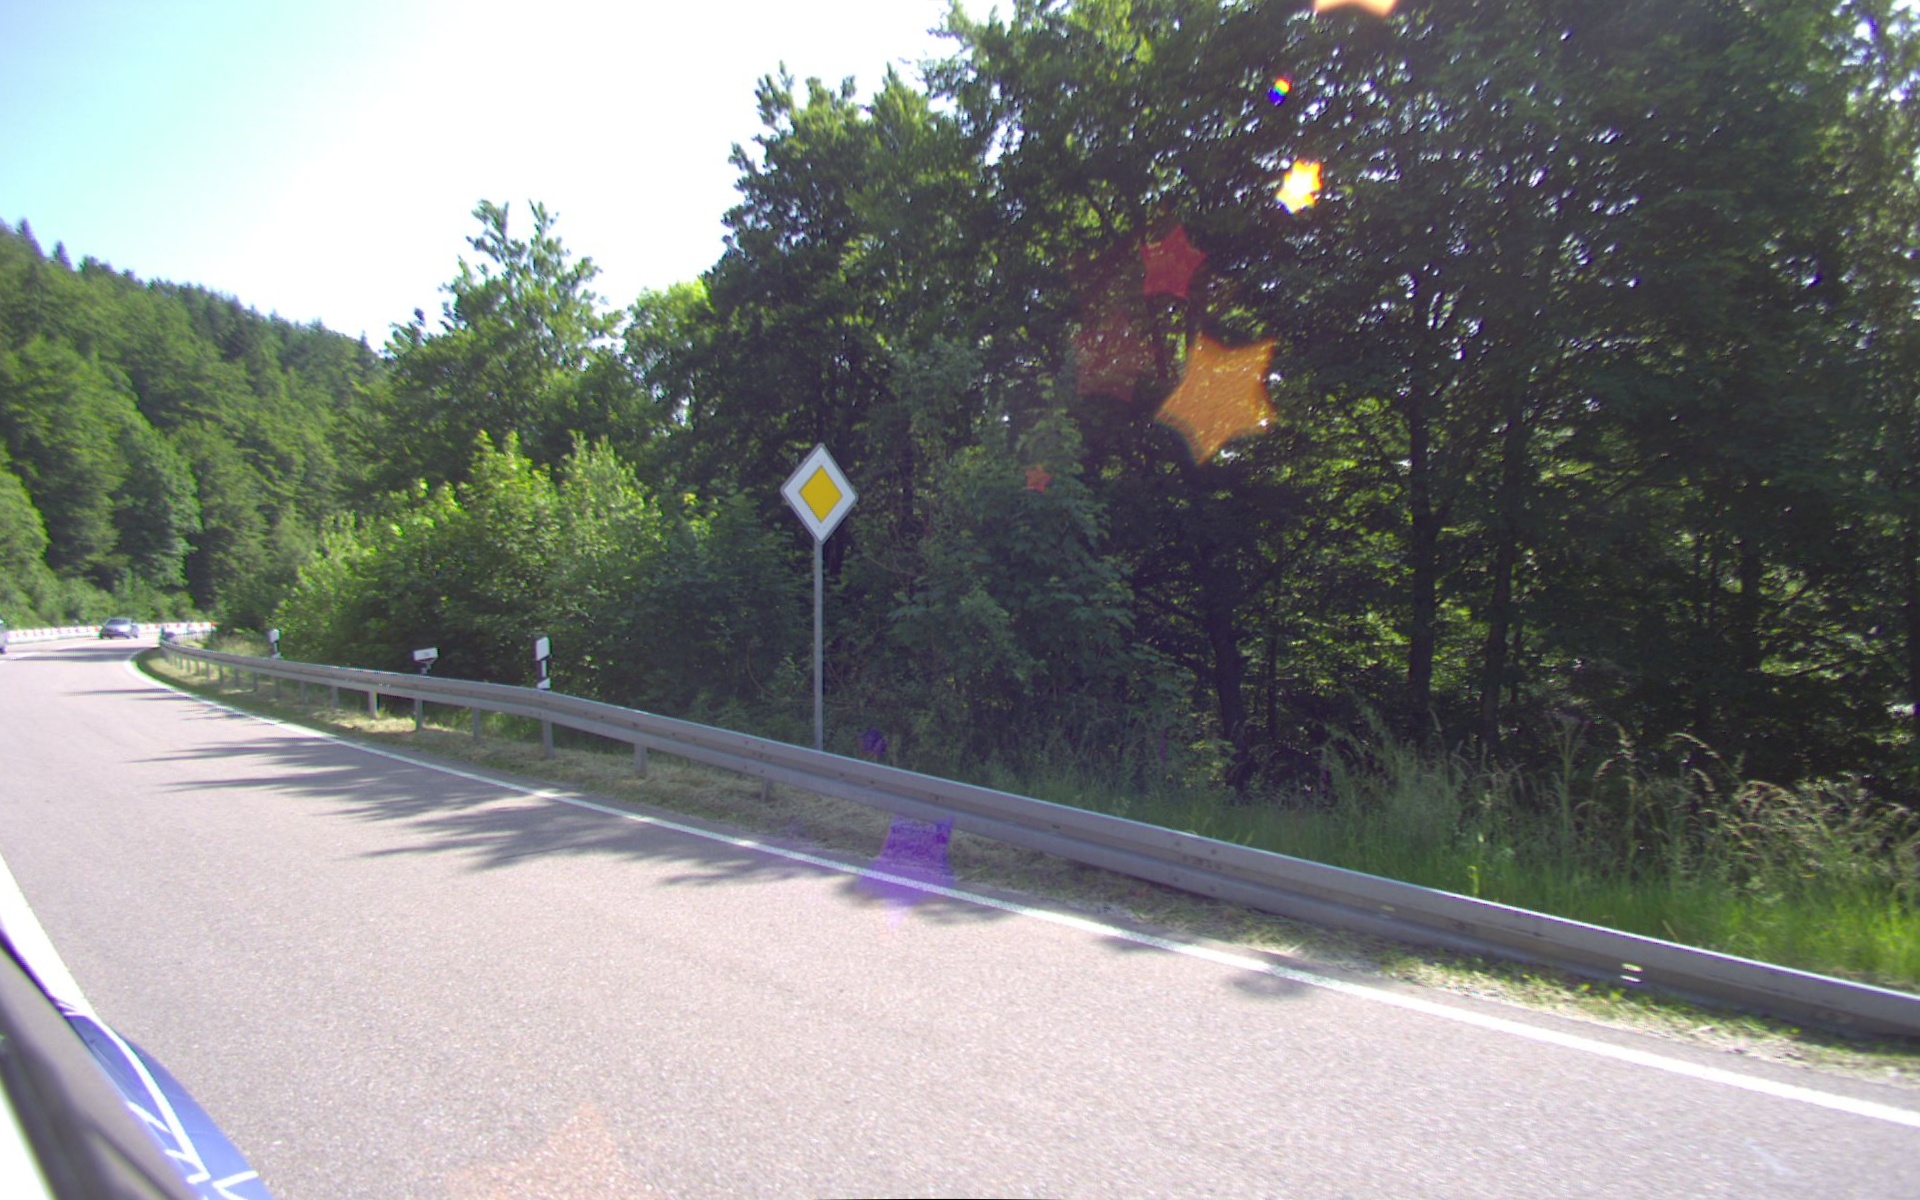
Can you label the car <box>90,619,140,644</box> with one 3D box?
[{"bbox_3d":[-59.155,2.171,70.884,1.966,1.655,4.012,-2,0,-29],"label":"car"}]
